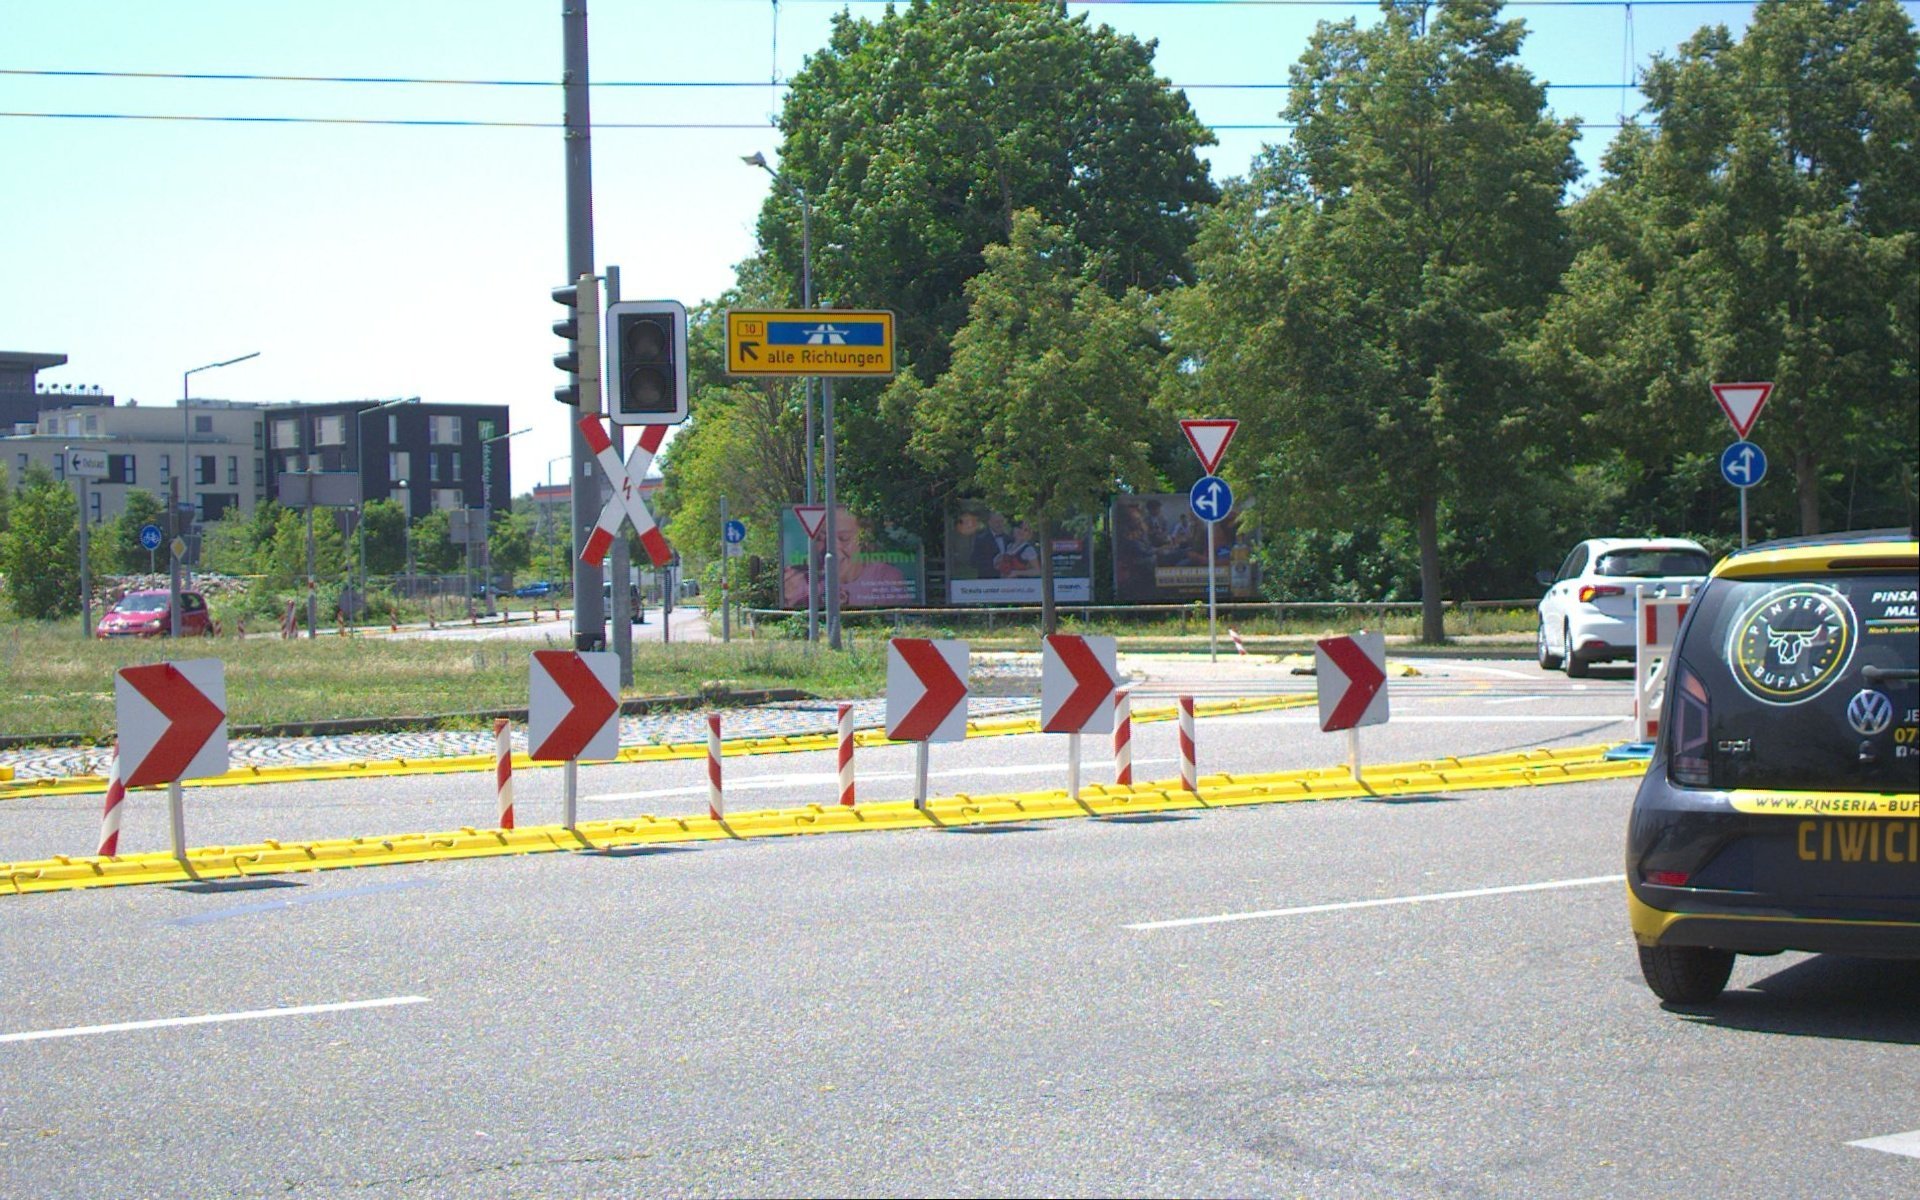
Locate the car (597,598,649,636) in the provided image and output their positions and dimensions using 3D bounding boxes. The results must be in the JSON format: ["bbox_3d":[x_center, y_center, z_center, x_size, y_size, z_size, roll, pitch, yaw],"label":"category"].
[{"bbox_3d":[-12.721,0.618,129.851,1.658,1.368,3.032,-1,1,0],"label":"car"}]

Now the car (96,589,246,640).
[{"bbox_3d":[-18.090,0.326,78.965,1.495,1.086,3.515,0,1,25],"label":"car"}]

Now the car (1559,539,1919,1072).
[{"bbox_3d":[3.441,0.545,11.165,1.621,1.446,3.979,0,1,31],"label":"car"}]

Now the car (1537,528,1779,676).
[{"bbox_3d":[7.515,-0.004,37.413,1.994,1.481,4.366,-1,1,4],"label":"car"}]
